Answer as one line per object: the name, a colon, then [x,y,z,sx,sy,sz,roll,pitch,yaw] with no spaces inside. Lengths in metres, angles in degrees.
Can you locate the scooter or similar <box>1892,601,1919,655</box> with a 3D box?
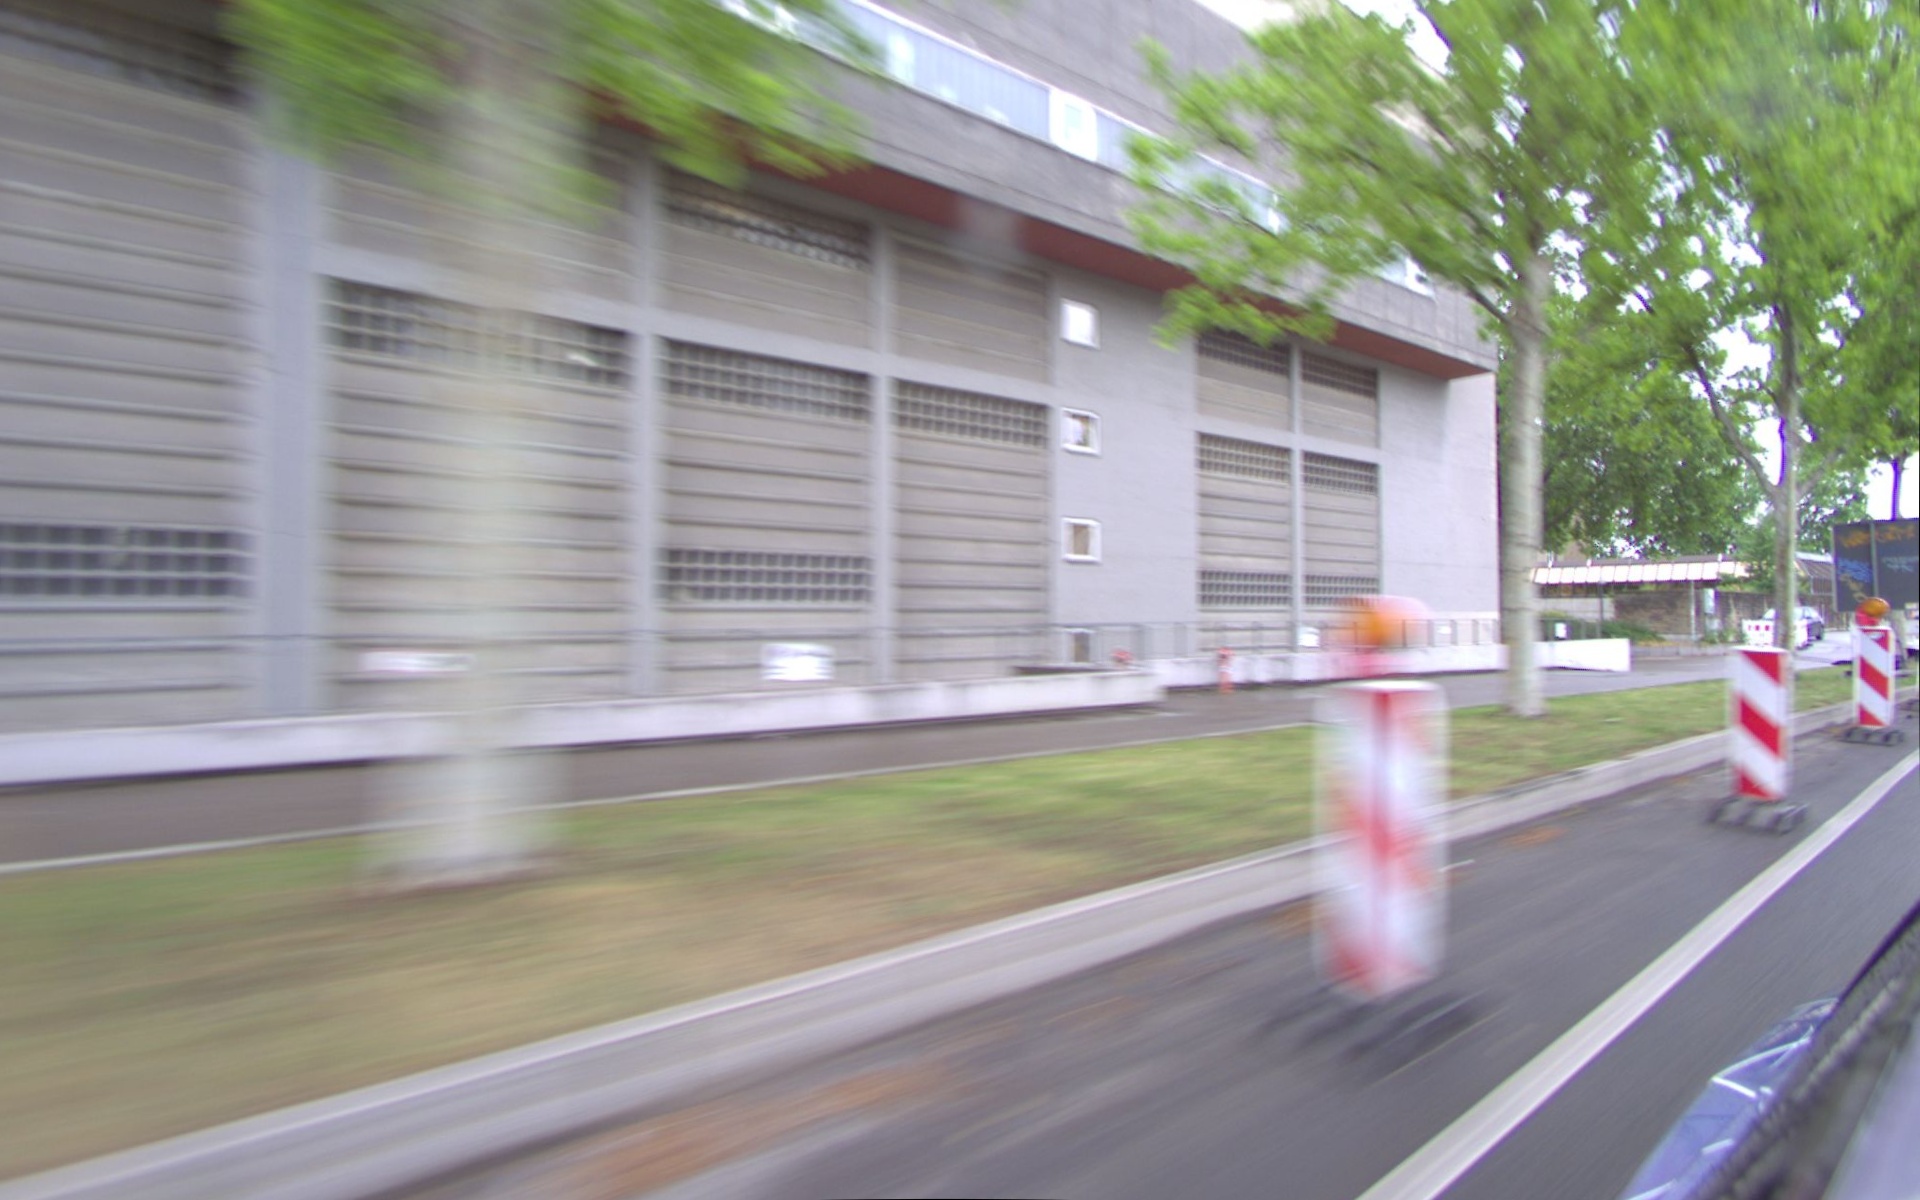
scooter or similar: [23.826,0.657,24.746,0.608,1.302,1.358,-2,-4,-39]
